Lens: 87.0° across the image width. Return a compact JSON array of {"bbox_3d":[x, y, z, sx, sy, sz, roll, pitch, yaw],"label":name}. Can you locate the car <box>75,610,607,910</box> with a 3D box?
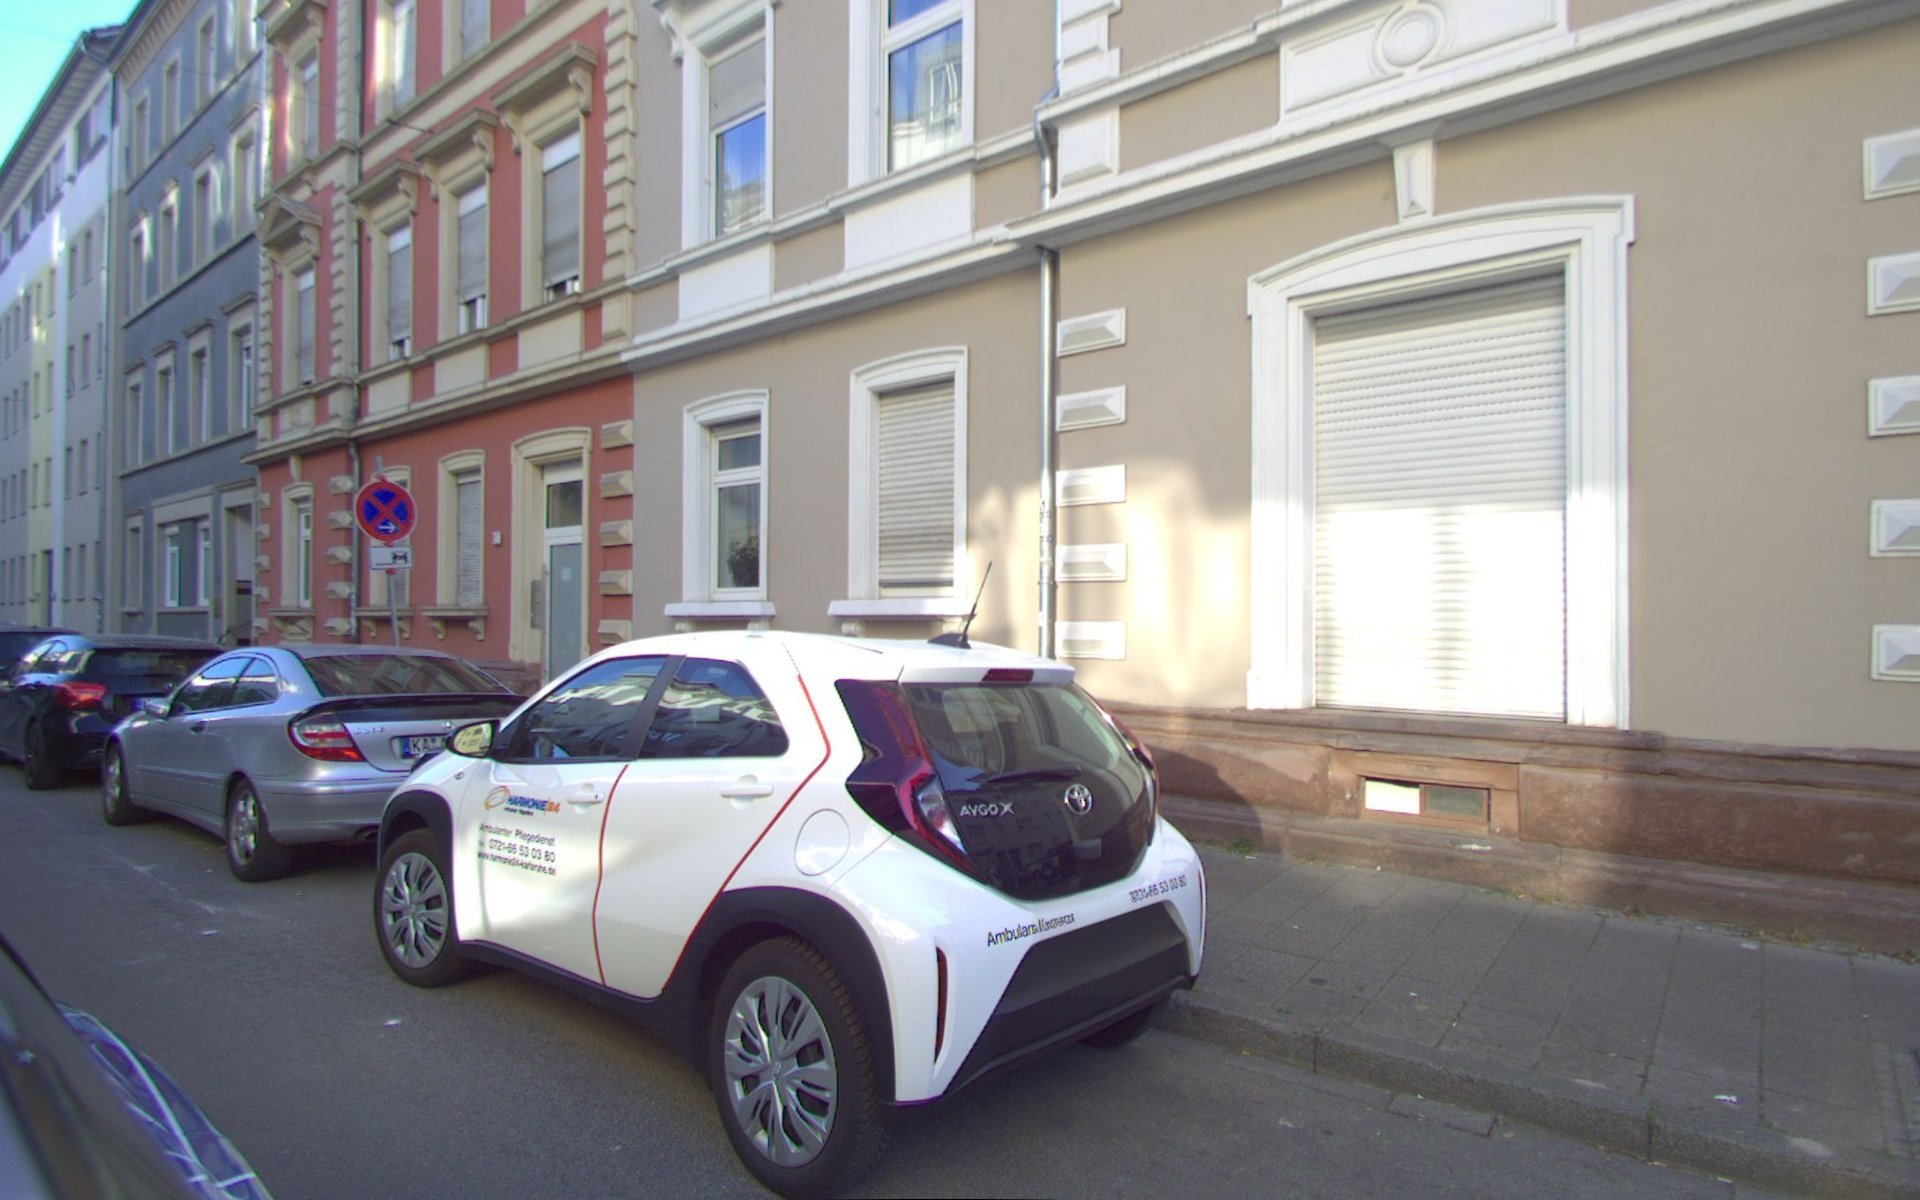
[{"bbox_3d":[-4.672,0.936,7.417,4.261,1.572,1.902,-2,-4,38],"label":"car"}]

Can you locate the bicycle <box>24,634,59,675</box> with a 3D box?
[{"bbox_3d":[-25.157,1.477,27.711,1.750,1.082,0.446,-1,-1,39],"label":"bicycle"}]

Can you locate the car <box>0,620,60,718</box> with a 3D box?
[{"bbox_3d":[-17.342,1.142,17.475,4.261,1.572,1.902,-2,-4,38],"label":"car"}]

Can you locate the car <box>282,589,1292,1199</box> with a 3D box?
[{"bbox_3d":[-1.036,0.835,4.287,4.263,1.519,1.901,-2,-4,40],"label":"car"}]

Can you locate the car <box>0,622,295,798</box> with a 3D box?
[{"bbox_3d":[-8.958,1.031,10.694,4.261,1.495,1.902,-2,-4,38],"label":"car"}]

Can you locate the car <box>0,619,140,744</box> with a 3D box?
[{"bbox_3d":[-13.570,1.100,14.484,4.234,1.572,1.883,-2,-4,38],"label":"car"}]
